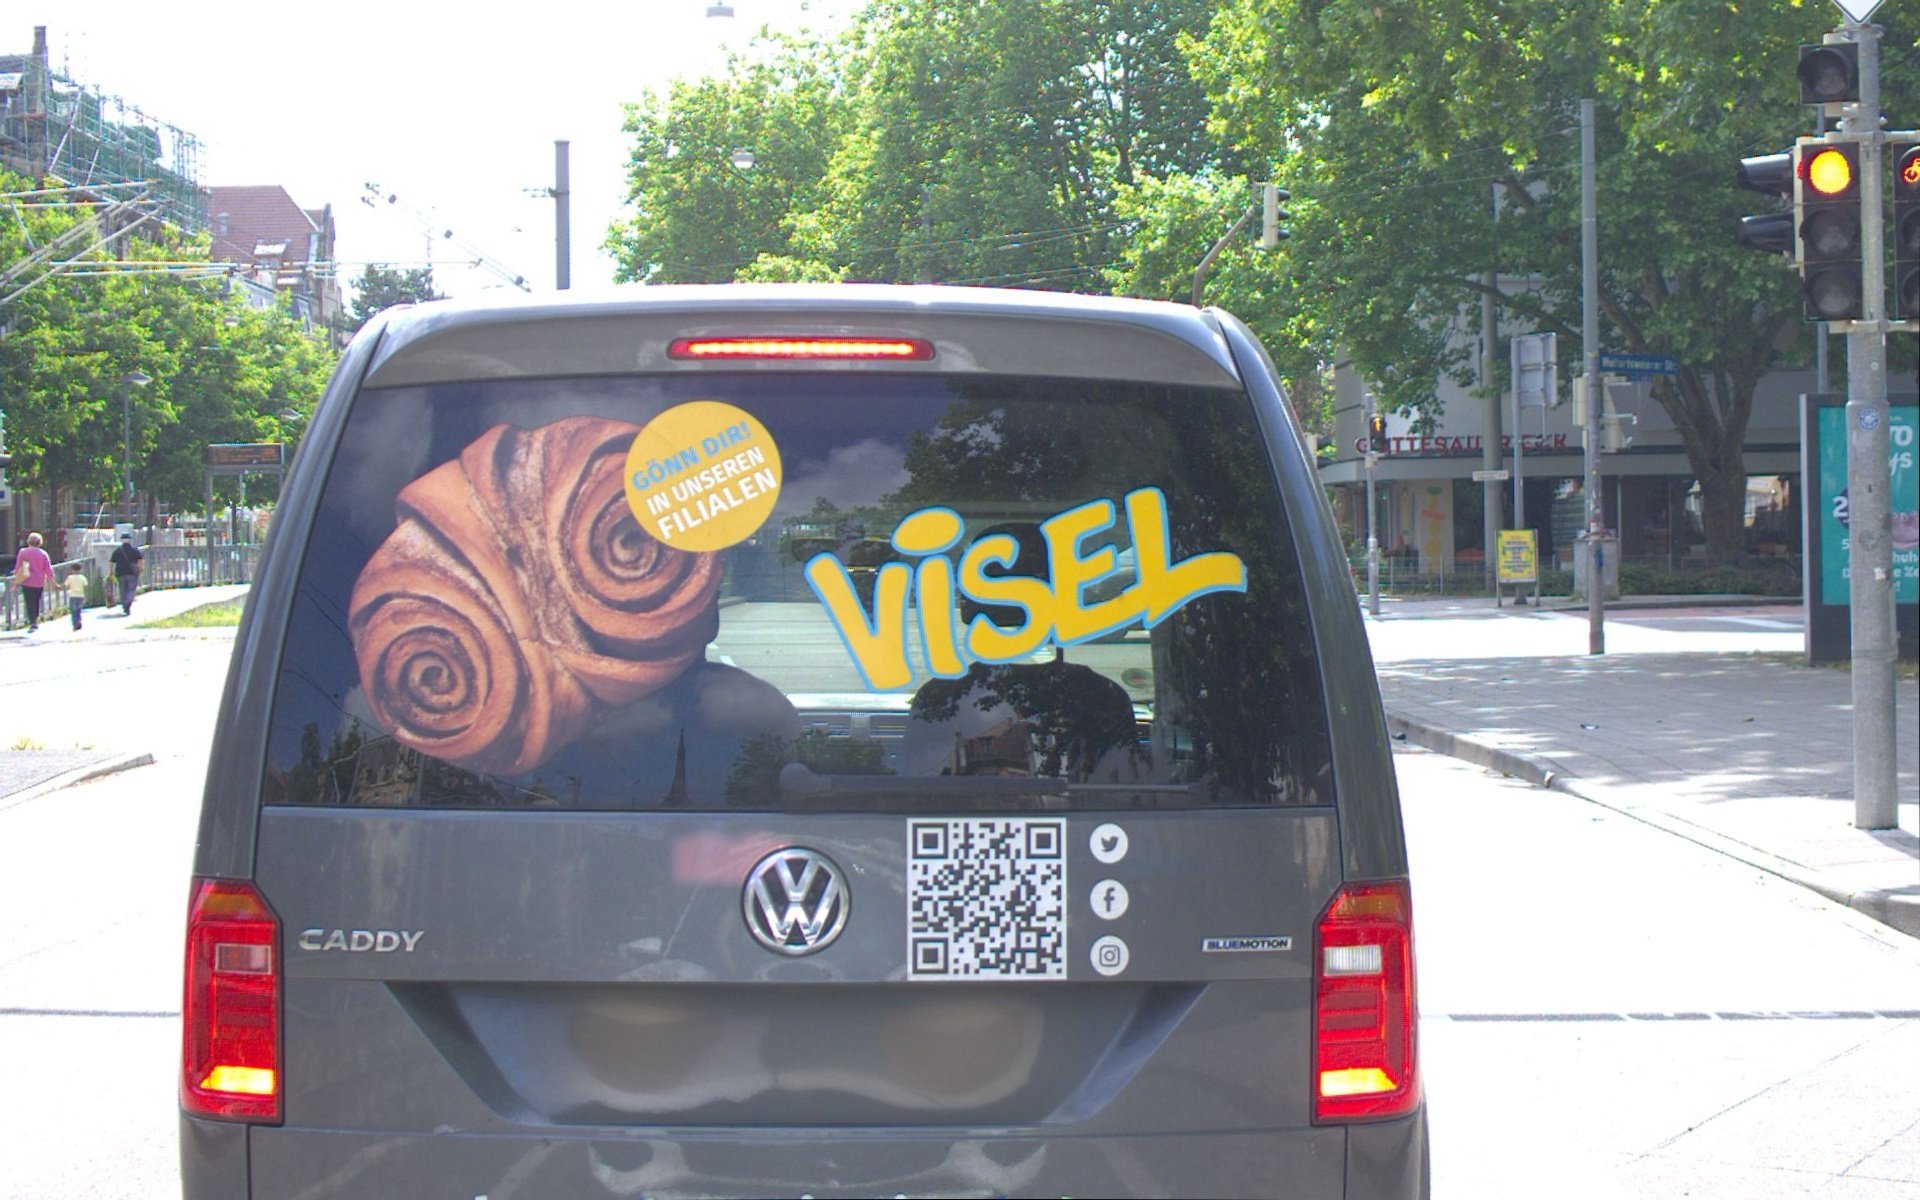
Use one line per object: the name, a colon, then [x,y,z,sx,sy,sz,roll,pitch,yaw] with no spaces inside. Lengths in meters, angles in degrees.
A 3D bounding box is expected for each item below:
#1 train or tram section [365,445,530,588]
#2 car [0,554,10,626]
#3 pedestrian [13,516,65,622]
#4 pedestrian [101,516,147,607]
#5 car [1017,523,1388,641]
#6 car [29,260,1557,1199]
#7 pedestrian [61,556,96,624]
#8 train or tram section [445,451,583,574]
train or tram section: [-12.922,-2.124,87.705,2.240,3.320,12.972,-1,1,0]
car: [-27.785,-0.240,94.860,1.993,2.007,4.000,-1,1,0]
pedestrian: [-15.648,-0.536,58.430,0.659,1.778,0.660,-1,1,0]
pedestrian: [-15.583,-0.724,64.062,0.659,1.679,0.655,-1,1,0]
car: [3.141,-0.249,44.424,4.480,1.385,1.707,-2,1,-24]
car: [-0.204,0.477,5.699,1.750,1.802,3.475,0,1,0]
pedestrian: [-14.976,-0.178,58.393,0.463,1.140,0.435,-1,1,0]
train or tram section: [-12.978,-2.563,101.132,2.240,3.320,14.014,-1,1,0]
